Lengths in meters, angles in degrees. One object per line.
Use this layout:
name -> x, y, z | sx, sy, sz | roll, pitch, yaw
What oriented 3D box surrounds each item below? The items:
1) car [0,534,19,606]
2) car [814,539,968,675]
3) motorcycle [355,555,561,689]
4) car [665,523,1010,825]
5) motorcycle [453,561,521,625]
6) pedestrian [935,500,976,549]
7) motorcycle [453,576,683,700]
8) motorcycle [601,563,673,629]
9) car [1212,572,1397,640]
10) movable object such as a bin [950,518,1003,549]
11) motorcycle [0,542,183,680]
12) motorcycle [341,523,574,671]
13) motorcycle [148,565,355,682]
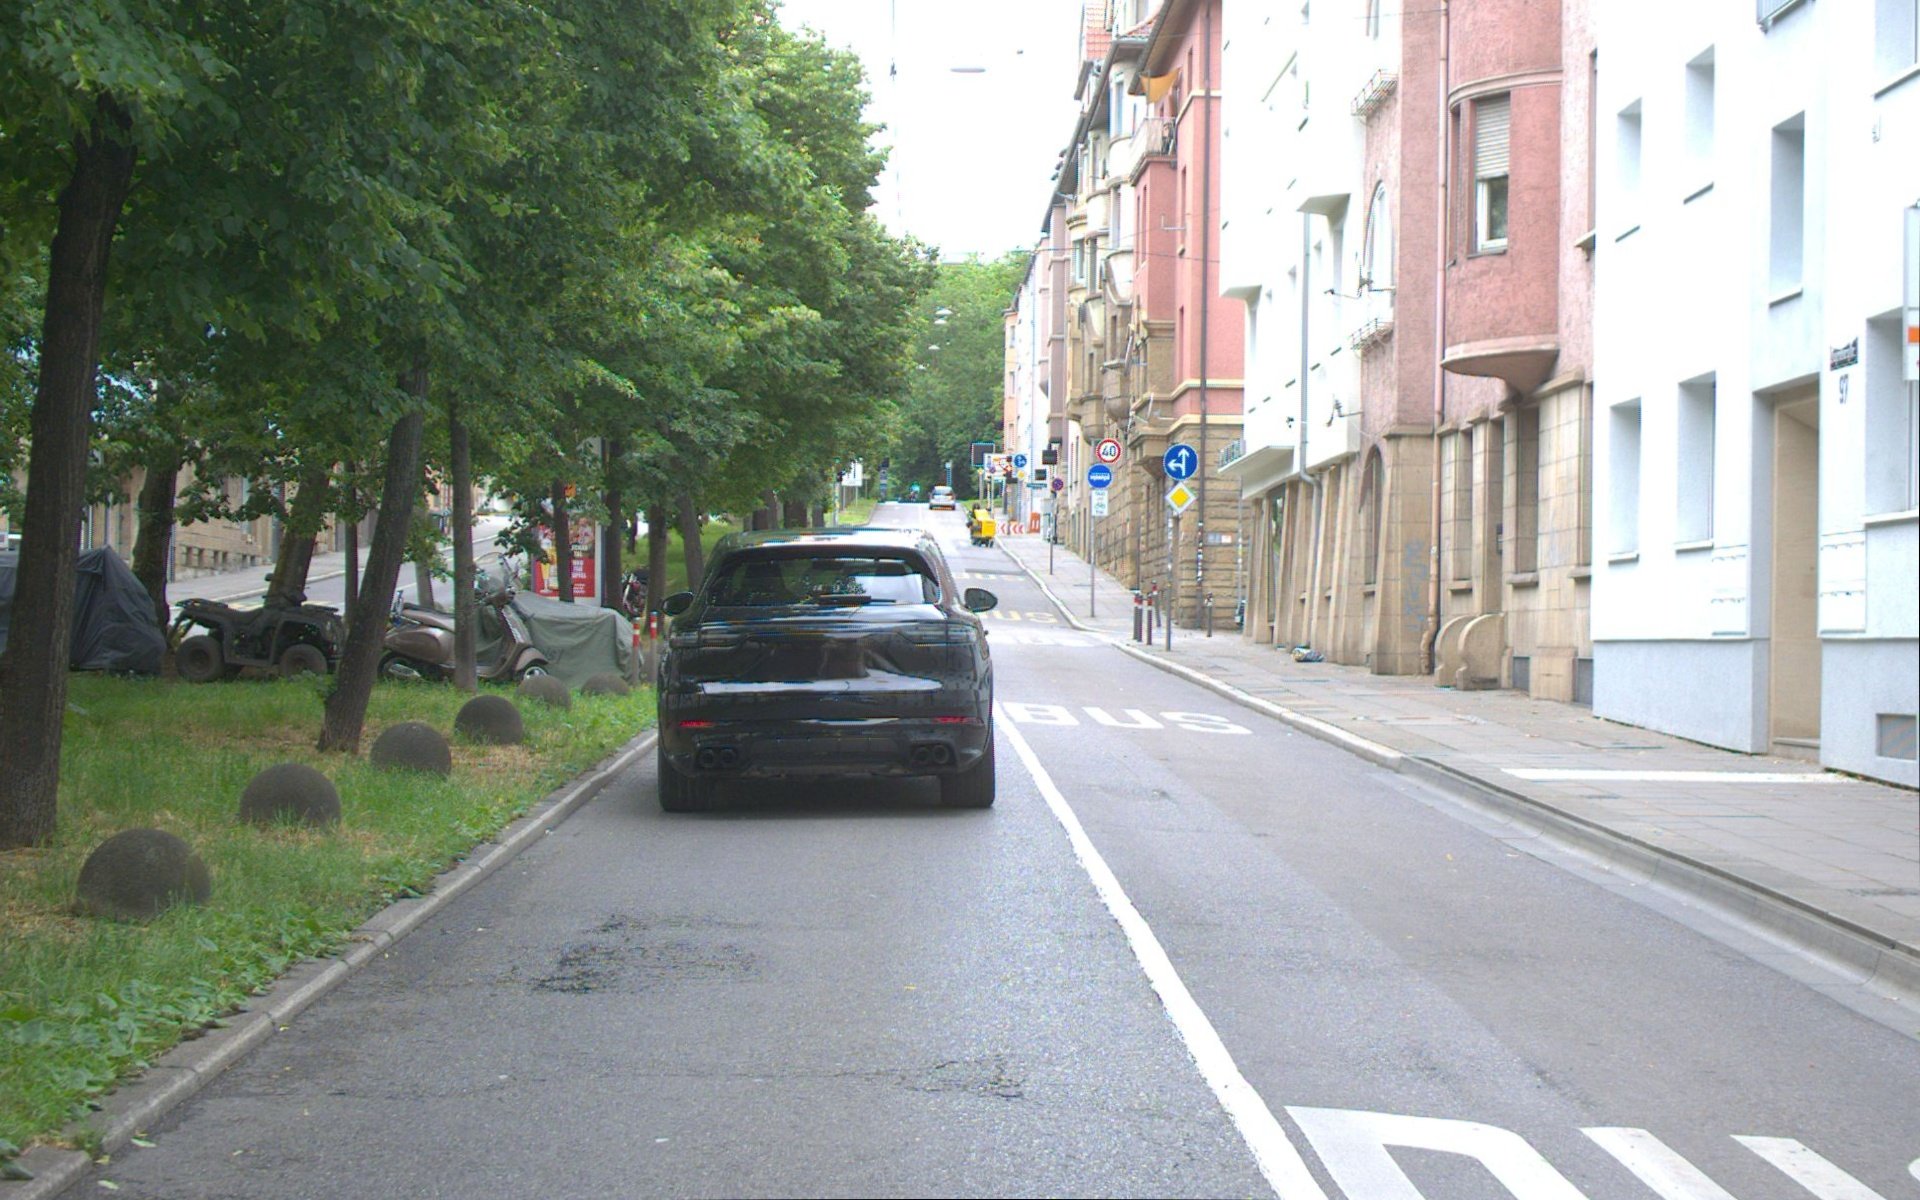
car -> -21.962, -0.666, 71.926 | 3.987, 1.492, 2.000 | 1, 1, -1
car -> -0.922, 0.069, 47.122 | 1.993, 1.747, 4.000 | 1, 1, 0
motorcycle -> -4.973, 0.223, 34.156 | 1.924, 1.292, 0.893 | 1, -1, -2
car -> -0.771, 0.391, 21.365 | 1.903, 1.660, 4.136 | 1, 1, -2
motorcycle -> -8.416, -0.109, 61.234 | 0.900, 1.103, 2.251 | 0, -1, 0
pedestrian -> -0.191, -3.124, 142.093 | 1.301, 2.007, 1.020 | 1, 1, -38
motorcycle -> -4.182, 0.399, 36.854 | 2.355, 1.231, 1.034 | 1, 3, -2
motorcycle -> -5.746, -0.084, 61.377 | 1.062, 1.144, 2.448 | 0, 1, 0
car -> 7.270, 0.109, 72.240 | 1.998, 1.371, 3.991 | 1, 1, 39
movable object such as a bin -> 0.665, -2.726, 141.000 | 1.237, 1.270, 1.845 | 1, 1, -40
motorcycle -> -9.008, 0.098, 34.073 | 2.382, 1.312, 1.046 | 1, 1, -2
motorcycle -> -5.089, -0.035, 34.897 | 2.194, 1.434, 0.874 | 1, 1, 2
motorcycle -> -7.694, 0.247, 37.390 | 2.029, 1.231, 0.896 | 1, 1, 5
